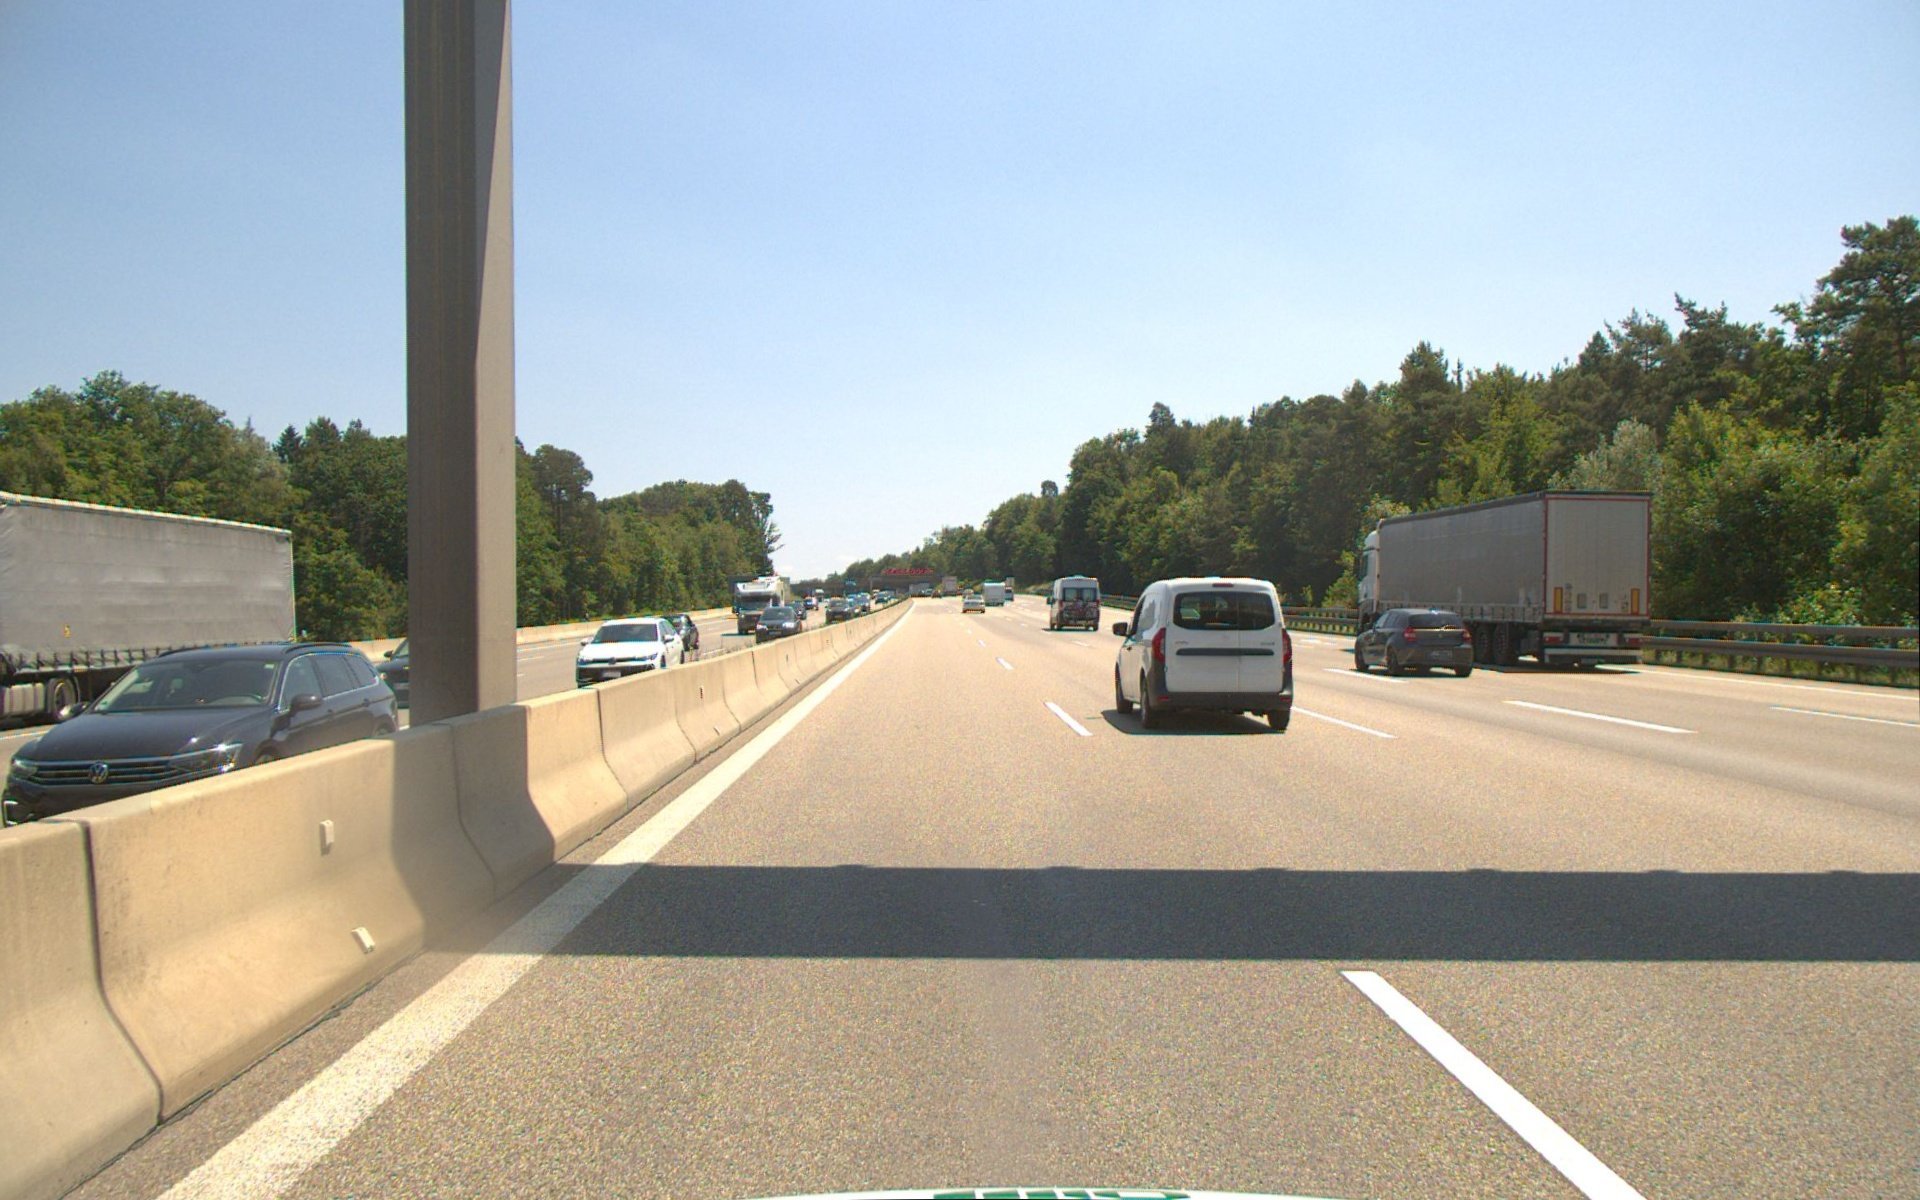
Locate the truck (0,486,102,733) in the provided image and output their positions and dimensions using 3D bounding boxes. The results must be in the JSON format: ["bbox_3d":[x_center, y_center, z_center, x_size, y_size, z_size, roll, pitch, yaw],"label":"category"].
[{"bbox_3d":[-18.064,0.210,29.028,2.704,4.294,6.376,-2,-1,-1],"label":"truck"}]

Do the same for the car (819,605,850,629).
[{"bbox_3d":[-8.881,1.211,117.602,1.953,1.646,3.999,-1,0,-1],"label":"car"}]

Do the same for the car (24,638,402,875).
[{"bbox_3d":[-6.089,1.178,14.011,1.506,1.577,4.068,-1,0,-3],"label":"car"}]

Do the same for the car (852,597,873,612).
[{"bbox_3d":[-9.420,0.422,160.229,1.798,1.361,3.642,-1,0,-1],"label":"car"}]

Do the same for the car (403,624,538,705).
[{"bbox_3d":[-10.044,1.280,34.296,1.517,1.467,4.723,-1,0,-2],"label":"car"}]

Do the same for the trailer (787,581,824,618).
[{"bbox_3d":[-18.434,-0.001,197.531,3.465,4.140,10.368,-2,-1,-1],"label":"trailer"}]

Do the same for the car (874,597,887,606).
[{"bbox_3d":[-11.655,0.223,242.935,1.798,1.361,3.642,-1,0,-1],"label":"car"}]

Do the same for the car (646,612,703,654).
[{"bbox_3d":[-11.277,1.289,65.623,1.503,1.507,4.124,2,0,0],"label":"car"}]

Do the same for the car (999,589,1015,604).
[{"bbox_3d":[6.170,-0.453,217.314,1.783,1.892,3.999,-1,0,-1],"label":"car"}]

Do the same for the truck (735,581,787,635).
[{"bbox_3d":[-11.246,0.424,93.951,2.095,2.888,7.668,-1,0,-1],"label":"truck"}]

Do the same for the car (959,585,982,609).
[{"bbox_3d":[0.961,-0.229,152.351,1.992,2.049,3.999,-2,-1,-1],"label":"car"}]

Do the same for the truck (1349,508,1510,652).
[{"bbox_3d":[14.394,-0.593,51.208,3.188,4.178,5.986,0,0,-1],"label":"truck"}]

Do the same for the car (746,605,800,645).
[{"bbox_3d":[-7.766,1.012,69.101,1.688,1.564,5.054,-2,0,-1],"label":"car"}]

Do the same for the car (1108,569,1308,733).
[{"bbox_3d":[3.082,0.619,21.486,1.822,1.858,4.611,-2,-1,0],"label":"car"}]

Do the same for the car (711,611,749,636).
[{"bbox_3d":[-13.713,1.399,98.866,1.798,1.361,3.642,-1,0,-1],"label":"car"}]

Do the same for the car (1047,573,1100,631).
[{"bbox_3d":[5.494,0.084,80.598,2.100,2.698,5.708,0,0,-1],"label":"car"}]

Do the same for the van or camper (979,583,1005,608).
[{"bbox_3d":[3.560,-0.498,182.796,2.591,2.583,6.500,-1,-1,-1],"label":"van or camper"}]

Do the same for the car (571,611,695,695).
[{"bbox_3d":[-7.193,1.113,36.876,1.809,1.577,5.212,-4,0,-2],"label":"car"}]

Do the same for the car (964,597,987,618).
[{"bbox_3d":[1.302,0.626,139.341,1.806,1.657,4.552,-2,-1,-1],"label":"car"}]

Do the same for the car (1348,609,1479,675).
[{"bbox_3d":[9.836,0.877,36.156,1.636,1.296,4.289,0,0,-1],"label":"car"}]

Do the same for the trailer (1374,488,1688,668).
[{"bbox_3d":[14.594,-0.503,44.164,3.221,3.999,13.886,1,0,-2],"label":"trailer"}]

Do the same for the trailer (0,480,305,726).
[{"bbox_3d":[-18.185,0.207,35.769,2.699,4.320,13.714,-2,-1,-1],"label":"trailer"}]
